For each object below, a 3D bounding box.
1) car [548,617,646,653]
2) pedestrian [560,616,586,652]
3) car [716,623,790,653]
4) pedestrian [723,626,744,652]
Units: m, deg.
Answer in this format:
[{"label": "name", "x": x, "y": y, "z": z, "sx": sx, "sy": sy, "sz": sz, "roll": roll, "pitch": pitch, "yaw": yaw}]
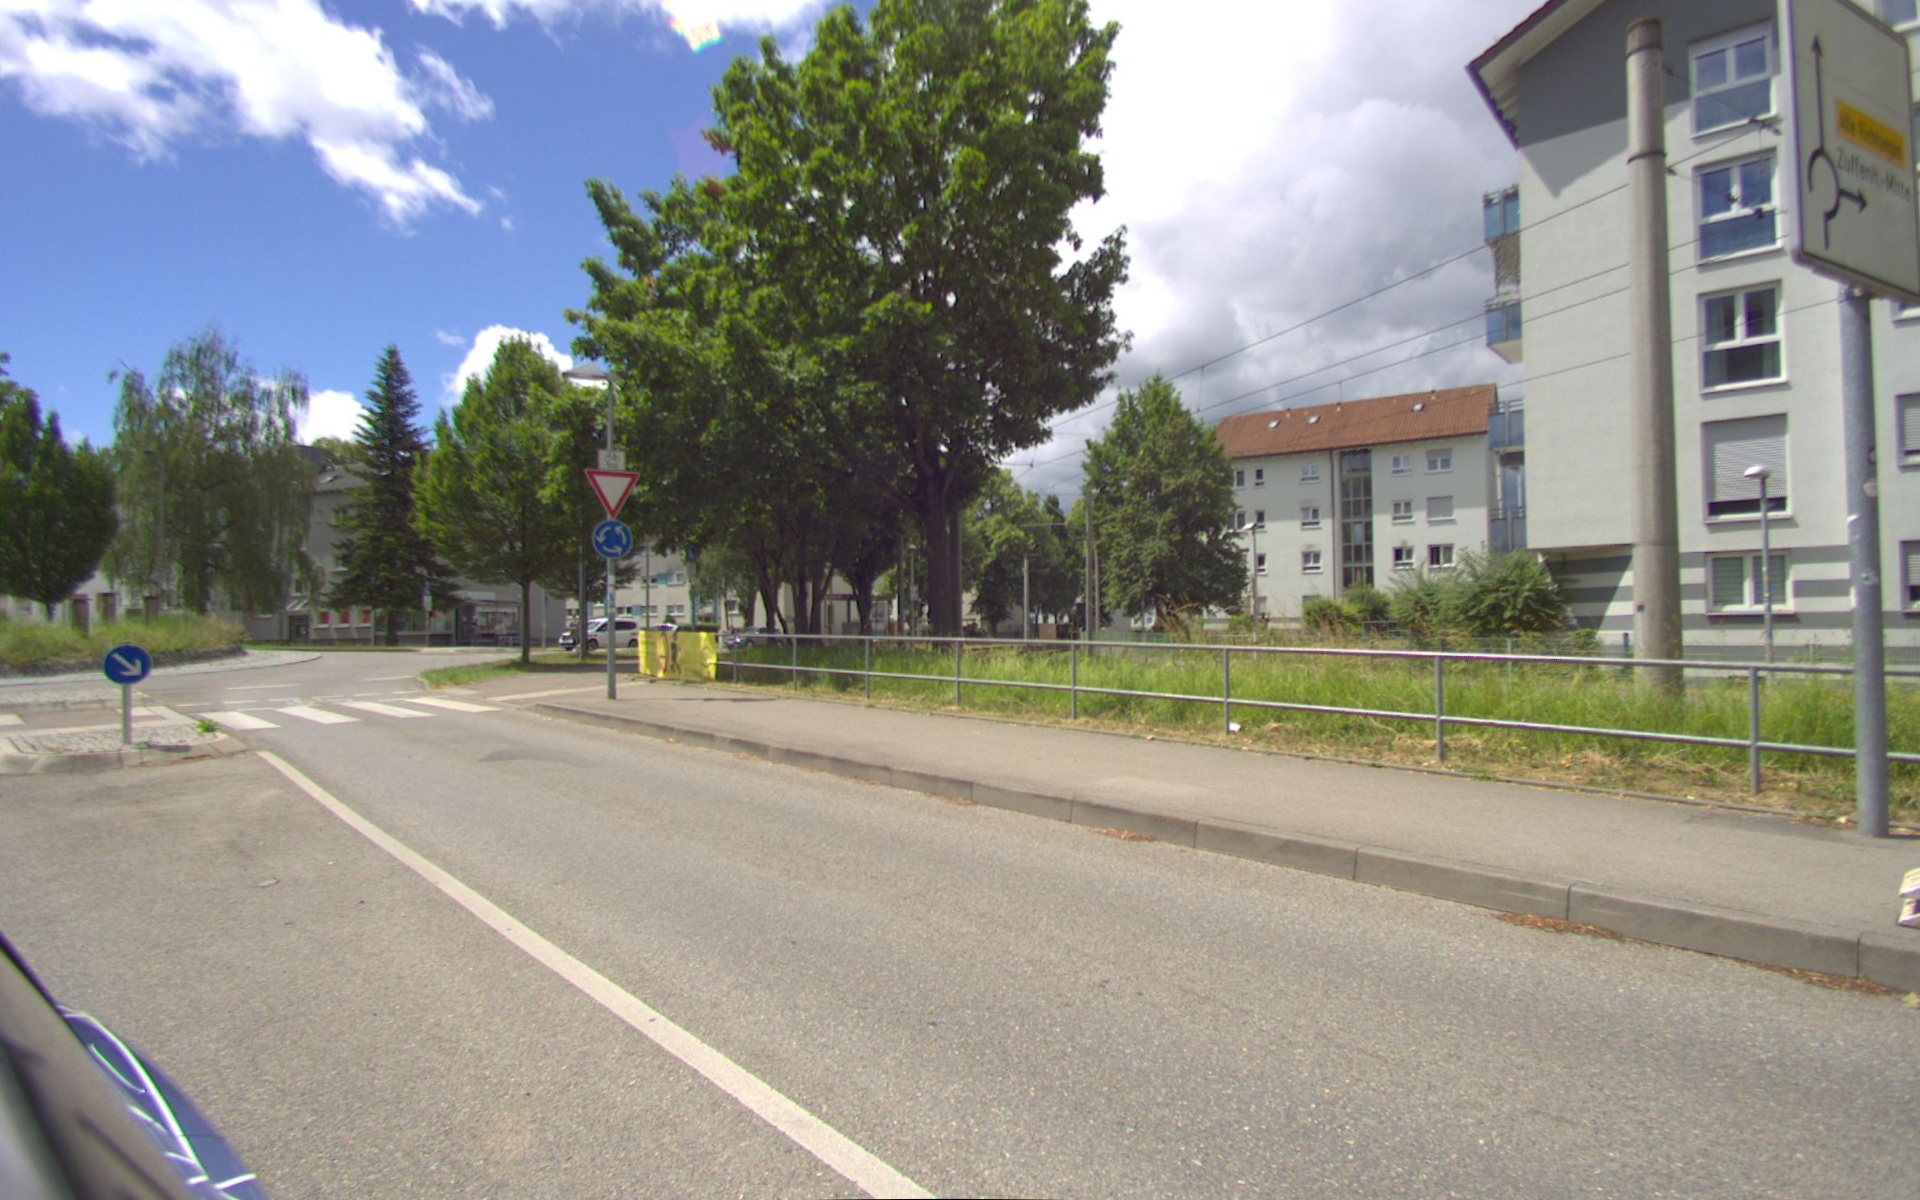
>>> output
[{"label": "car", "x": -18.979, "y": 1.836, "z": 53.074, "sx": 1.994, "sy": 1.810, "sz": 4.567, "roll": -1, "pitch": -2, "yaw": 33}, {"label": "pedestrian", "x": -18.237, "y": 1.584, "z": 47.697, "sx": 0.861, "sy": 1.677, "sz": 1.024, "roll": 1, "pitch": -2, "yaw": -36}, {"label": "car", "x": -12.981, "y": 2.368, "z": 63.713, "sx": 1.994, "sy": 1.810, "sz": 4.566, "roll": -1, "pitch": -2, "yaw": 33}, {"label": "pedestrian", "x": -14.871, "y": 2.543, "z": 66.363, "sx": 0.874, "sy": 1.677, "sz": 1.009, "roll": -1, "pitch": -2, "yaw": 37}]
